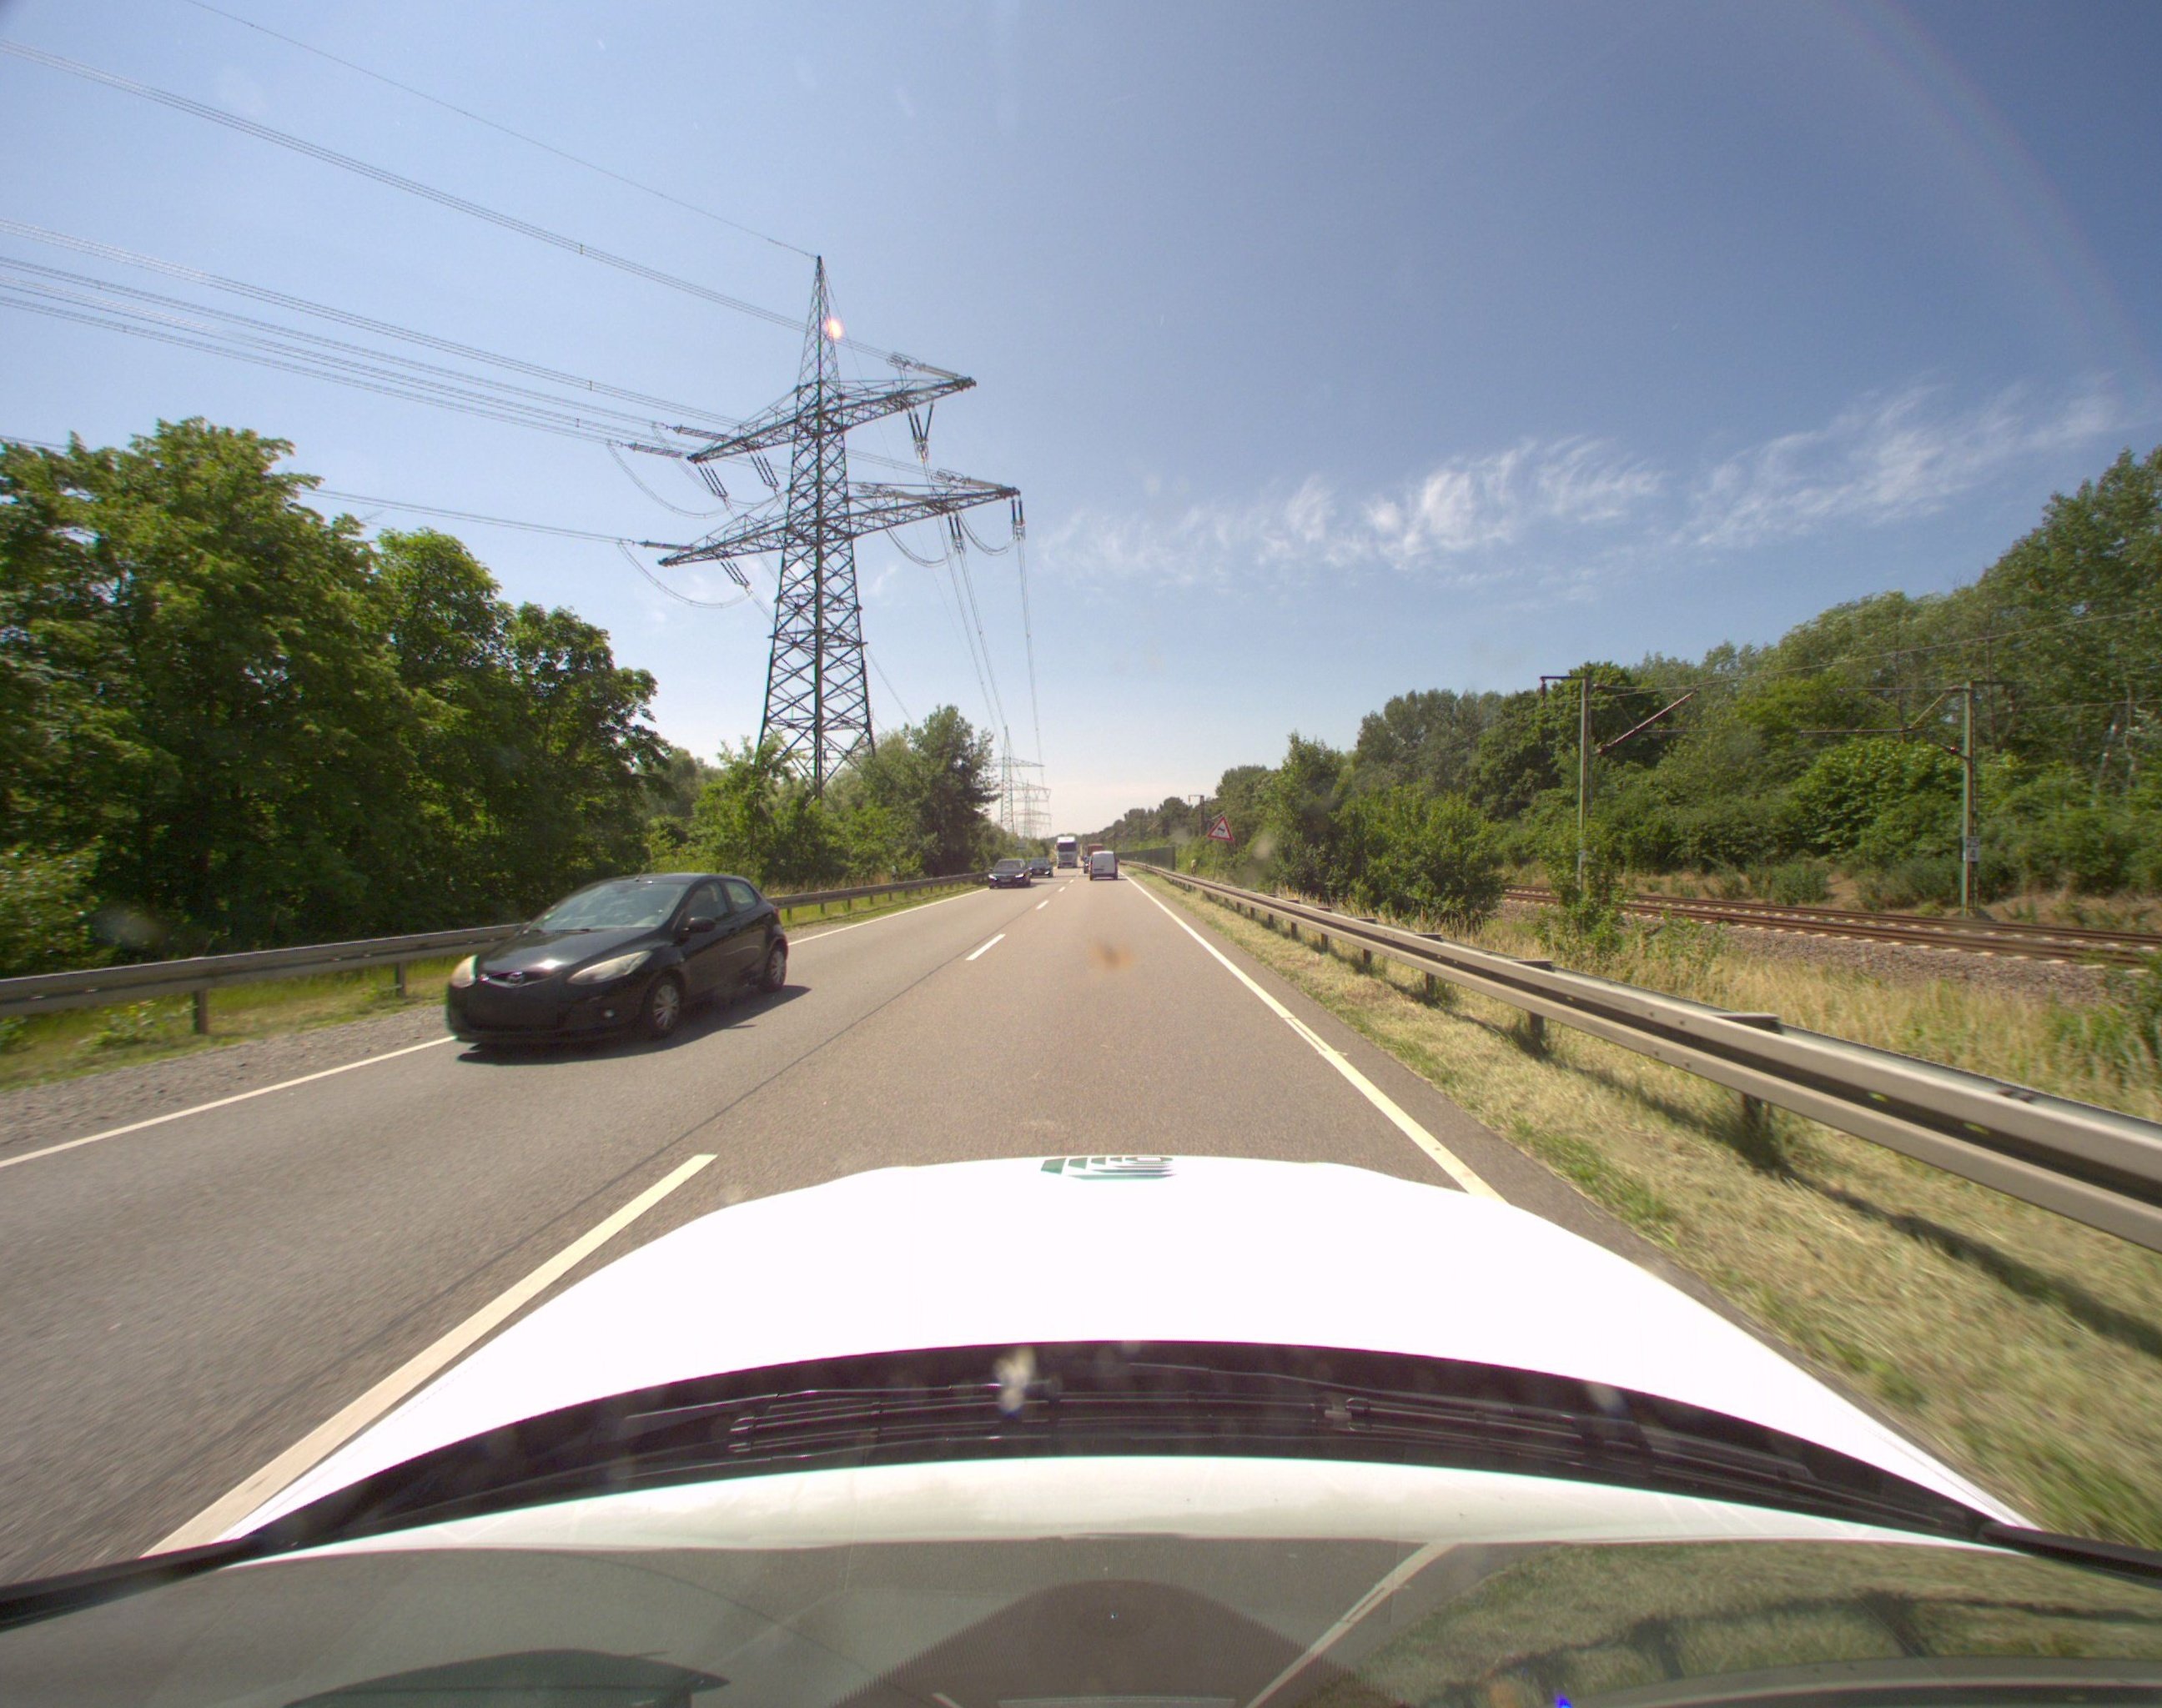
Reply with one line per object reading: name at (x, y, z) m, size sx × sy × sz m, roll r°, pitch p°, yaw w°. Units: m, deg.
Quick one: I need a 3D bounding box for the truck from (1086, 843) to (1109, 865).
truck at (2.482, -0.125, 127.610) m, size 3.286 × 3.171 × 14.404 m, roll 2°, pitch 1°, yaw 0°

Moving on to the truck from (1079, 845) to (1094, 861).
truck at (1.352, -0.380, 208.768) m, size 3.392 × 3.854 × 16.811 m, roll 2°, pitch 1°, yaw -1°

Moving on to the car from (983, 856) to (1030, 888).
car at (-3.752, 0.874, 41.703) m, size 1.838 × 1.497 × 4.002 m, roll -1°, pitch 0°, yaw 2°

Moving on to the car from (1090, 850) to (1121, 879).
car at (1.511, 0.651, 51.447) m, size 1.868 × 1.741 × 4.001 m, roll -1°, pitch 0°, yaw 1°

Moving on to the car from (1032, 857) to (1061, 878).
car at (-2.562, 0.968, 60.589) m, size 1.794 × 1.454 × 4.002 m, roll -1°, pitch 0°, yaw 2°

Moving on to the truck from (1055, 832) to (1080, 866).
truck at (-1.703, -0.626, 106.581) m, size 2.733 × 4.042 × 9.665 m, roll -2°, pitch 0°, yaw 1°

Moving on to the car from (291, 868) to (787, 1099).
car at (-4.400, 0.899, 7.622) m, size 1.628 × 1.437 × 4.414 m, roll -1°, pitch 0°, yaw 1°

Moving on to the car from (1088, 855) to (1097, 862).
car at (2.453, 0.903, 176.189) m, size 1.987 × 1.526 × 4.000 m, roll -1°, pitch 0°, yaw 0°
